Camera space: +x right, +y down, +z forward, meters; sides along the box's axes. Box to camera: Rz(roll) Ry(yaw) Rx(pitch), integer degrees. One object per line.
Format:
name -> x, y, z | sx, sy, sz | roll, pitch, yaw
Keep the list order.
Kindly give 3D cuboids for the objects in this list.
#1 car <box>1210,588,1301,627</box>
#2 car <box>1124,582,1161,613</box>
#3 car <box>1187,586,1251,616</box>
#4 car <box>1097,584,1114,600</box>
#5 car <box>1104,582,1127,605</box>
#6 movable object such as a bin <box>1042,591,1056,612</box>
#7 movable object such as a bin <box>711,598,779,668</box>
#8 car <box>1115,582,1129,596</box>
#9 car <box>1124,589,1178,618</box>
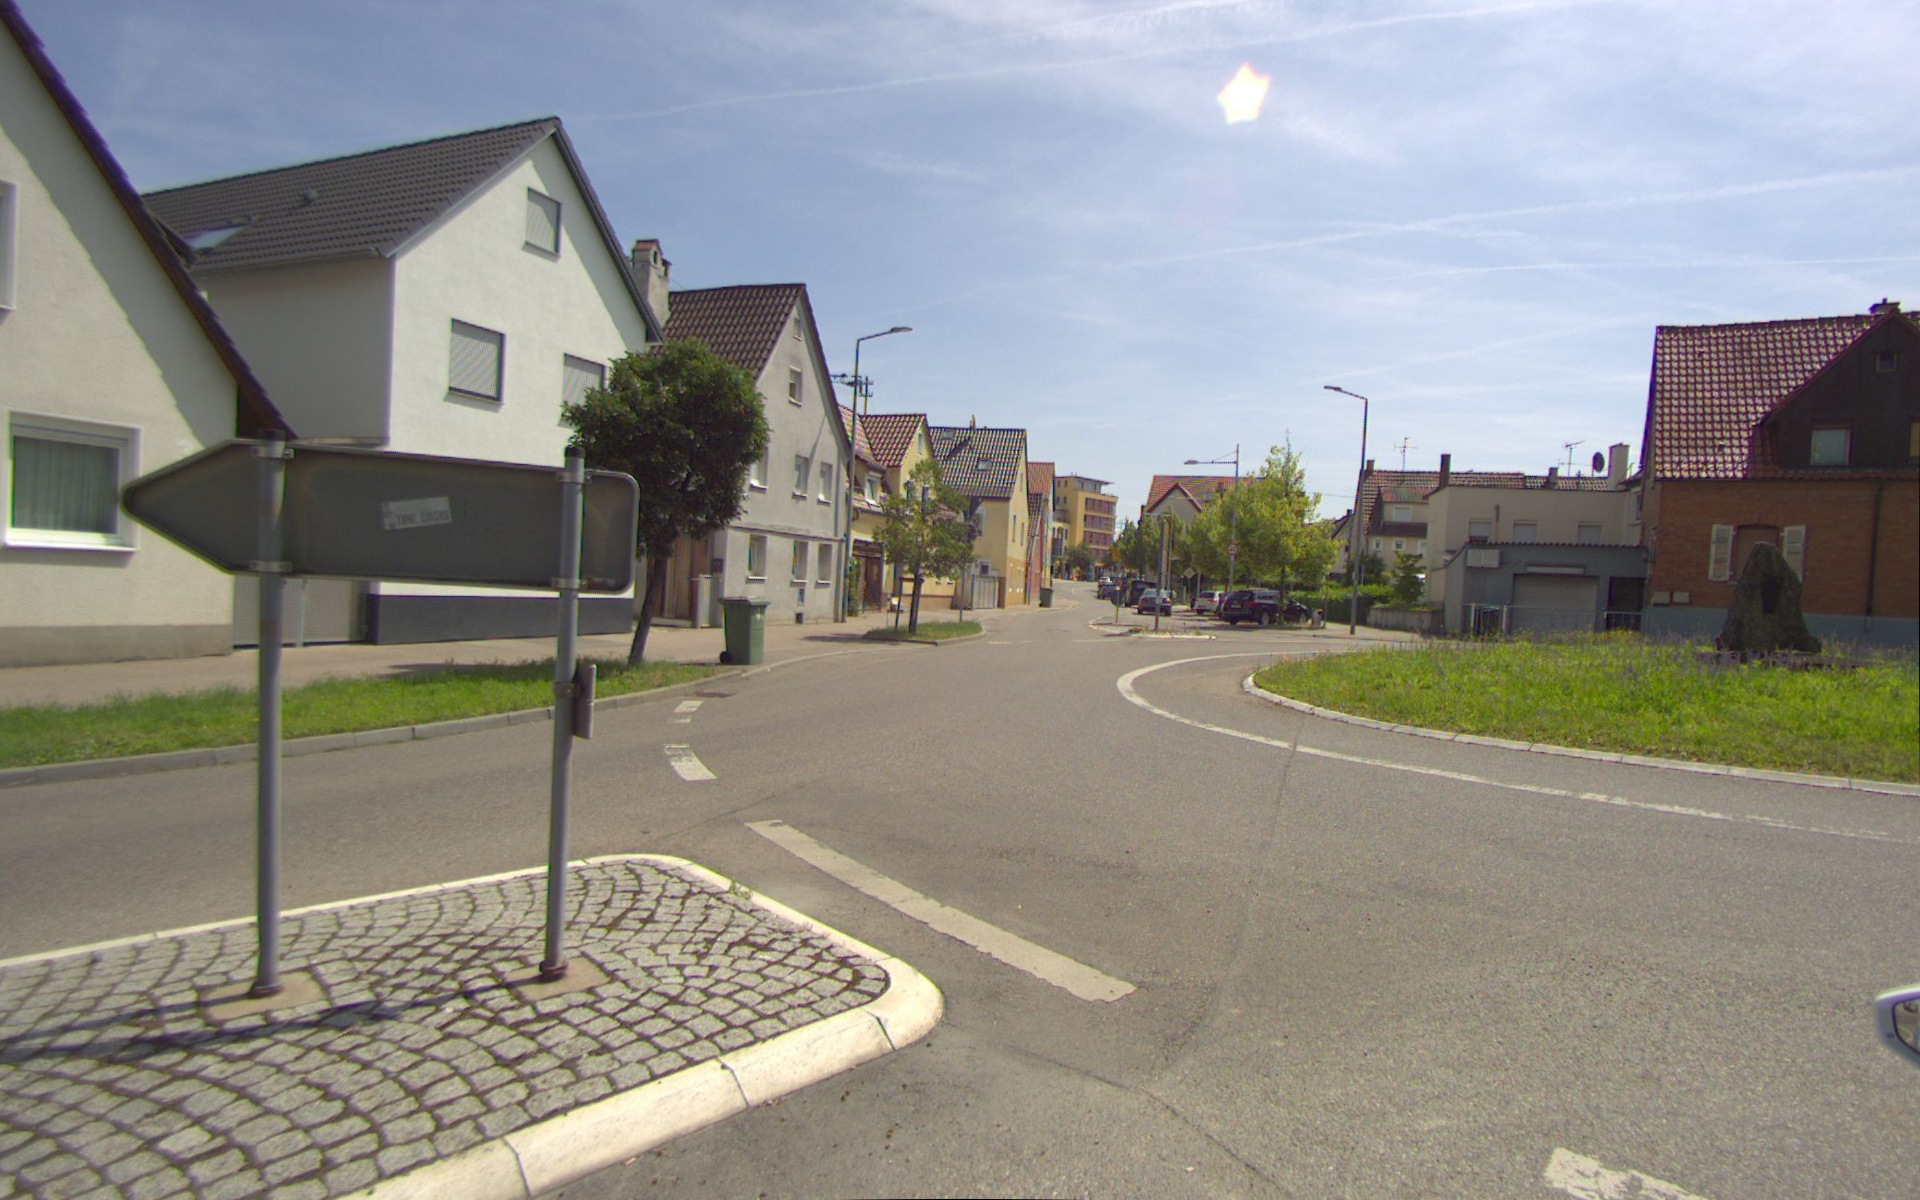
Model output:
car -> 13.916, 0.374, 47.276 | 3.951, 1.639, 1.804 | 2, 1, -29
car -> 12.992, -0.181, 71.563 | 2.075, 2.040, 4.001 | 3, 1, 4
car -> 16.217, 0.055, 62.845 | 3.968, 1.691, 1.850 | 2, 2, -41
car -> 19.121, -1.039, 131.997 | 2.075, 2.040, 4.002 | 3, 1, 8
car -> 14.680, -0.642, 94.880 | 2.075, 2.040, 4.002 | 3, 1, 8
movable object such as a bin -> 4.786, 0.077, 54.235 | 0.685, 1.066, 0.675 | 2, 1, 4
movable object such as a bin -> -3.442, 0.519, 16.135 | 0.885, 1.062, 0.579 | 2, 1, 14
car -> 25.413, -1.771, 157.444 | 2.075, 2.040, 4.002 | 3, 1, 8
car -> 10.387, 0.179, 54.986 | 1.842, 1.410, 4.212 | 3, 1, -4
